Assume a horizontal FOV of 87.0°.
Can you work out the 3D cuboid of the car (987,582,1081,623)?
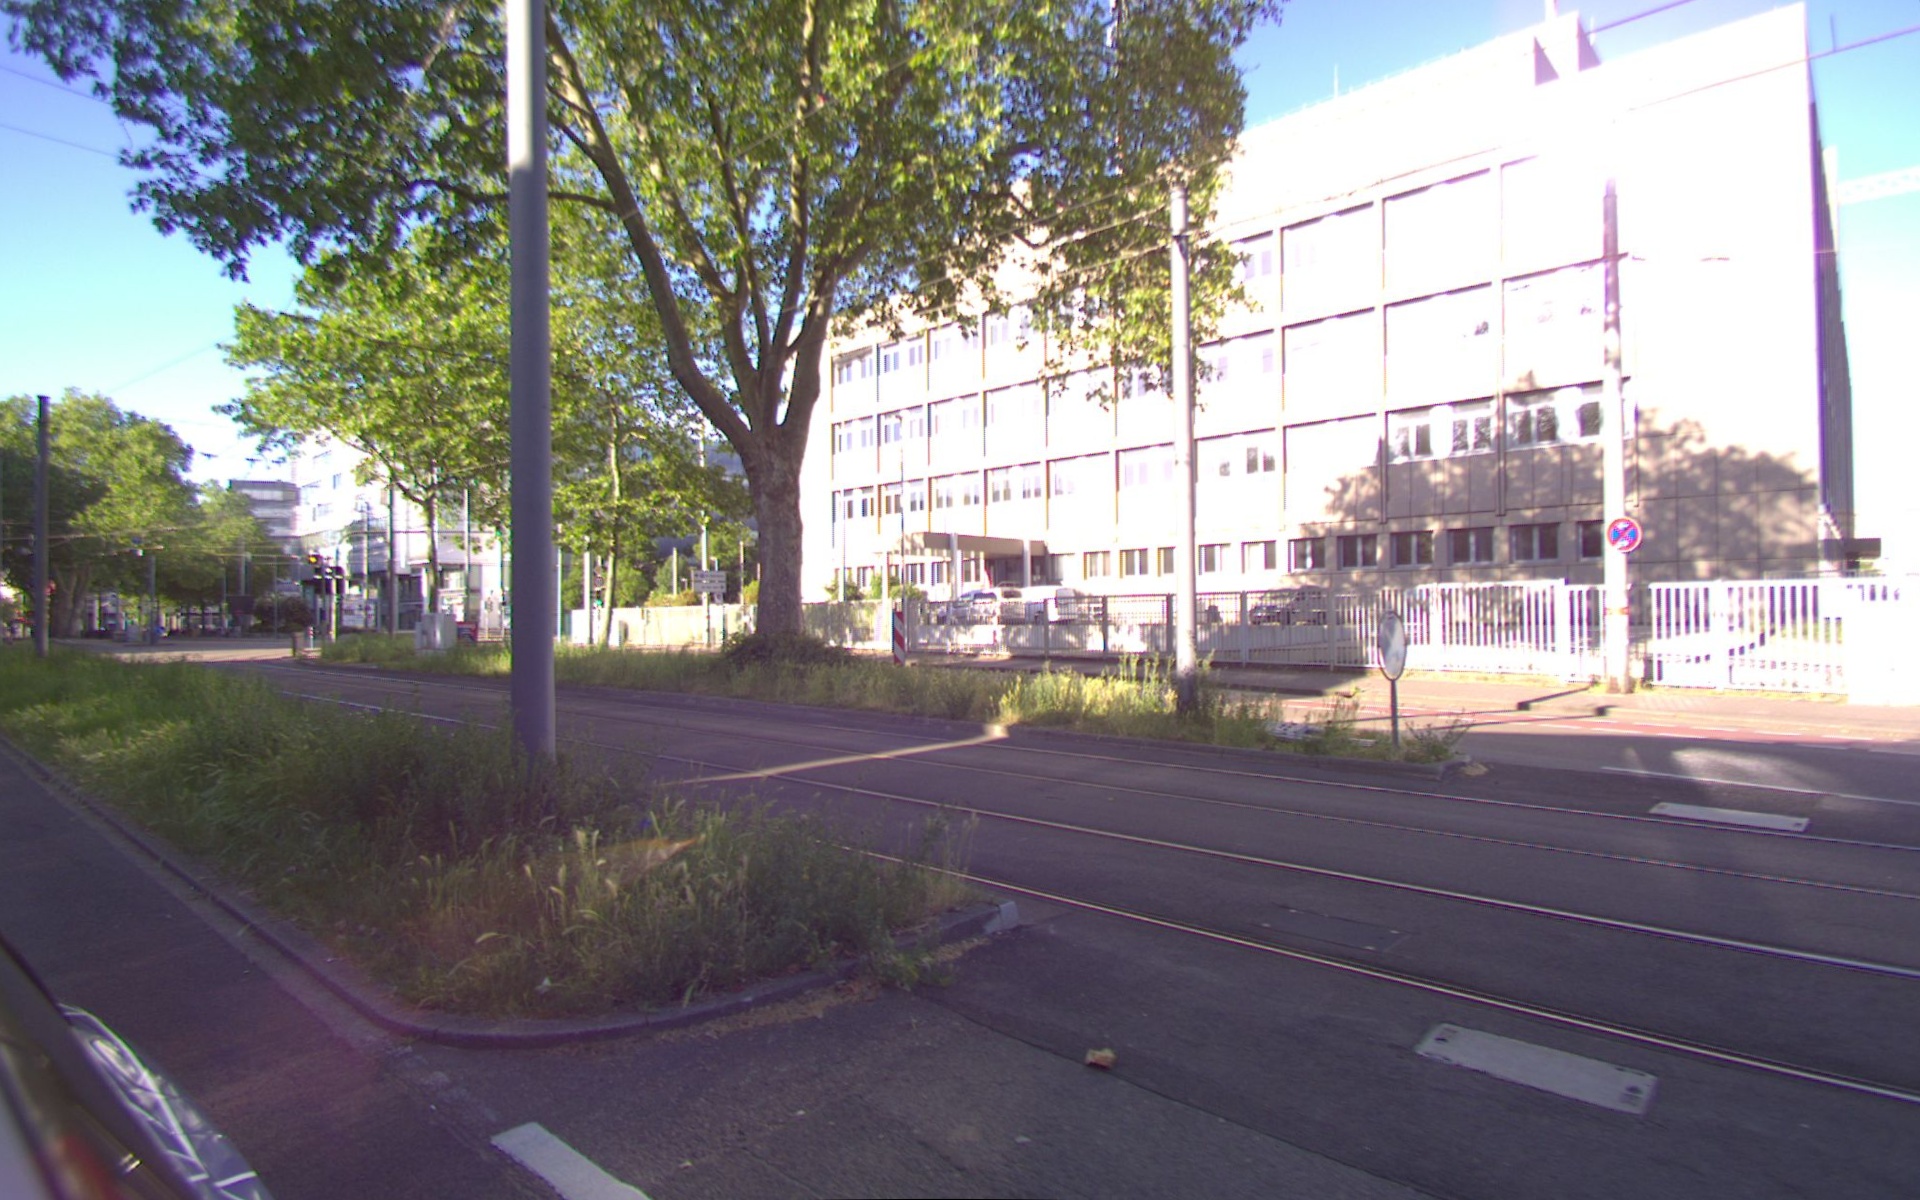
[{"bbox_3d":[3.315,0.127,45.876,4.000,1.765,1.827,-1,-1,43],"label":"car"}]

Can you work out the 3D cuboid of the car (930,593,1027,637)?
[{"bbox_3d":[0.781,0.658,44.008,4.000,1.831,1.827,-1,-1,43],"label":"car"}]

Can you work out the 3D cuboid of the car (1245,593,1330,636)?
[{"bbox_3d":[13.768,0.590,42.411,1.853,1.732,4.221,-1,-1,42],"label":"car"}]
